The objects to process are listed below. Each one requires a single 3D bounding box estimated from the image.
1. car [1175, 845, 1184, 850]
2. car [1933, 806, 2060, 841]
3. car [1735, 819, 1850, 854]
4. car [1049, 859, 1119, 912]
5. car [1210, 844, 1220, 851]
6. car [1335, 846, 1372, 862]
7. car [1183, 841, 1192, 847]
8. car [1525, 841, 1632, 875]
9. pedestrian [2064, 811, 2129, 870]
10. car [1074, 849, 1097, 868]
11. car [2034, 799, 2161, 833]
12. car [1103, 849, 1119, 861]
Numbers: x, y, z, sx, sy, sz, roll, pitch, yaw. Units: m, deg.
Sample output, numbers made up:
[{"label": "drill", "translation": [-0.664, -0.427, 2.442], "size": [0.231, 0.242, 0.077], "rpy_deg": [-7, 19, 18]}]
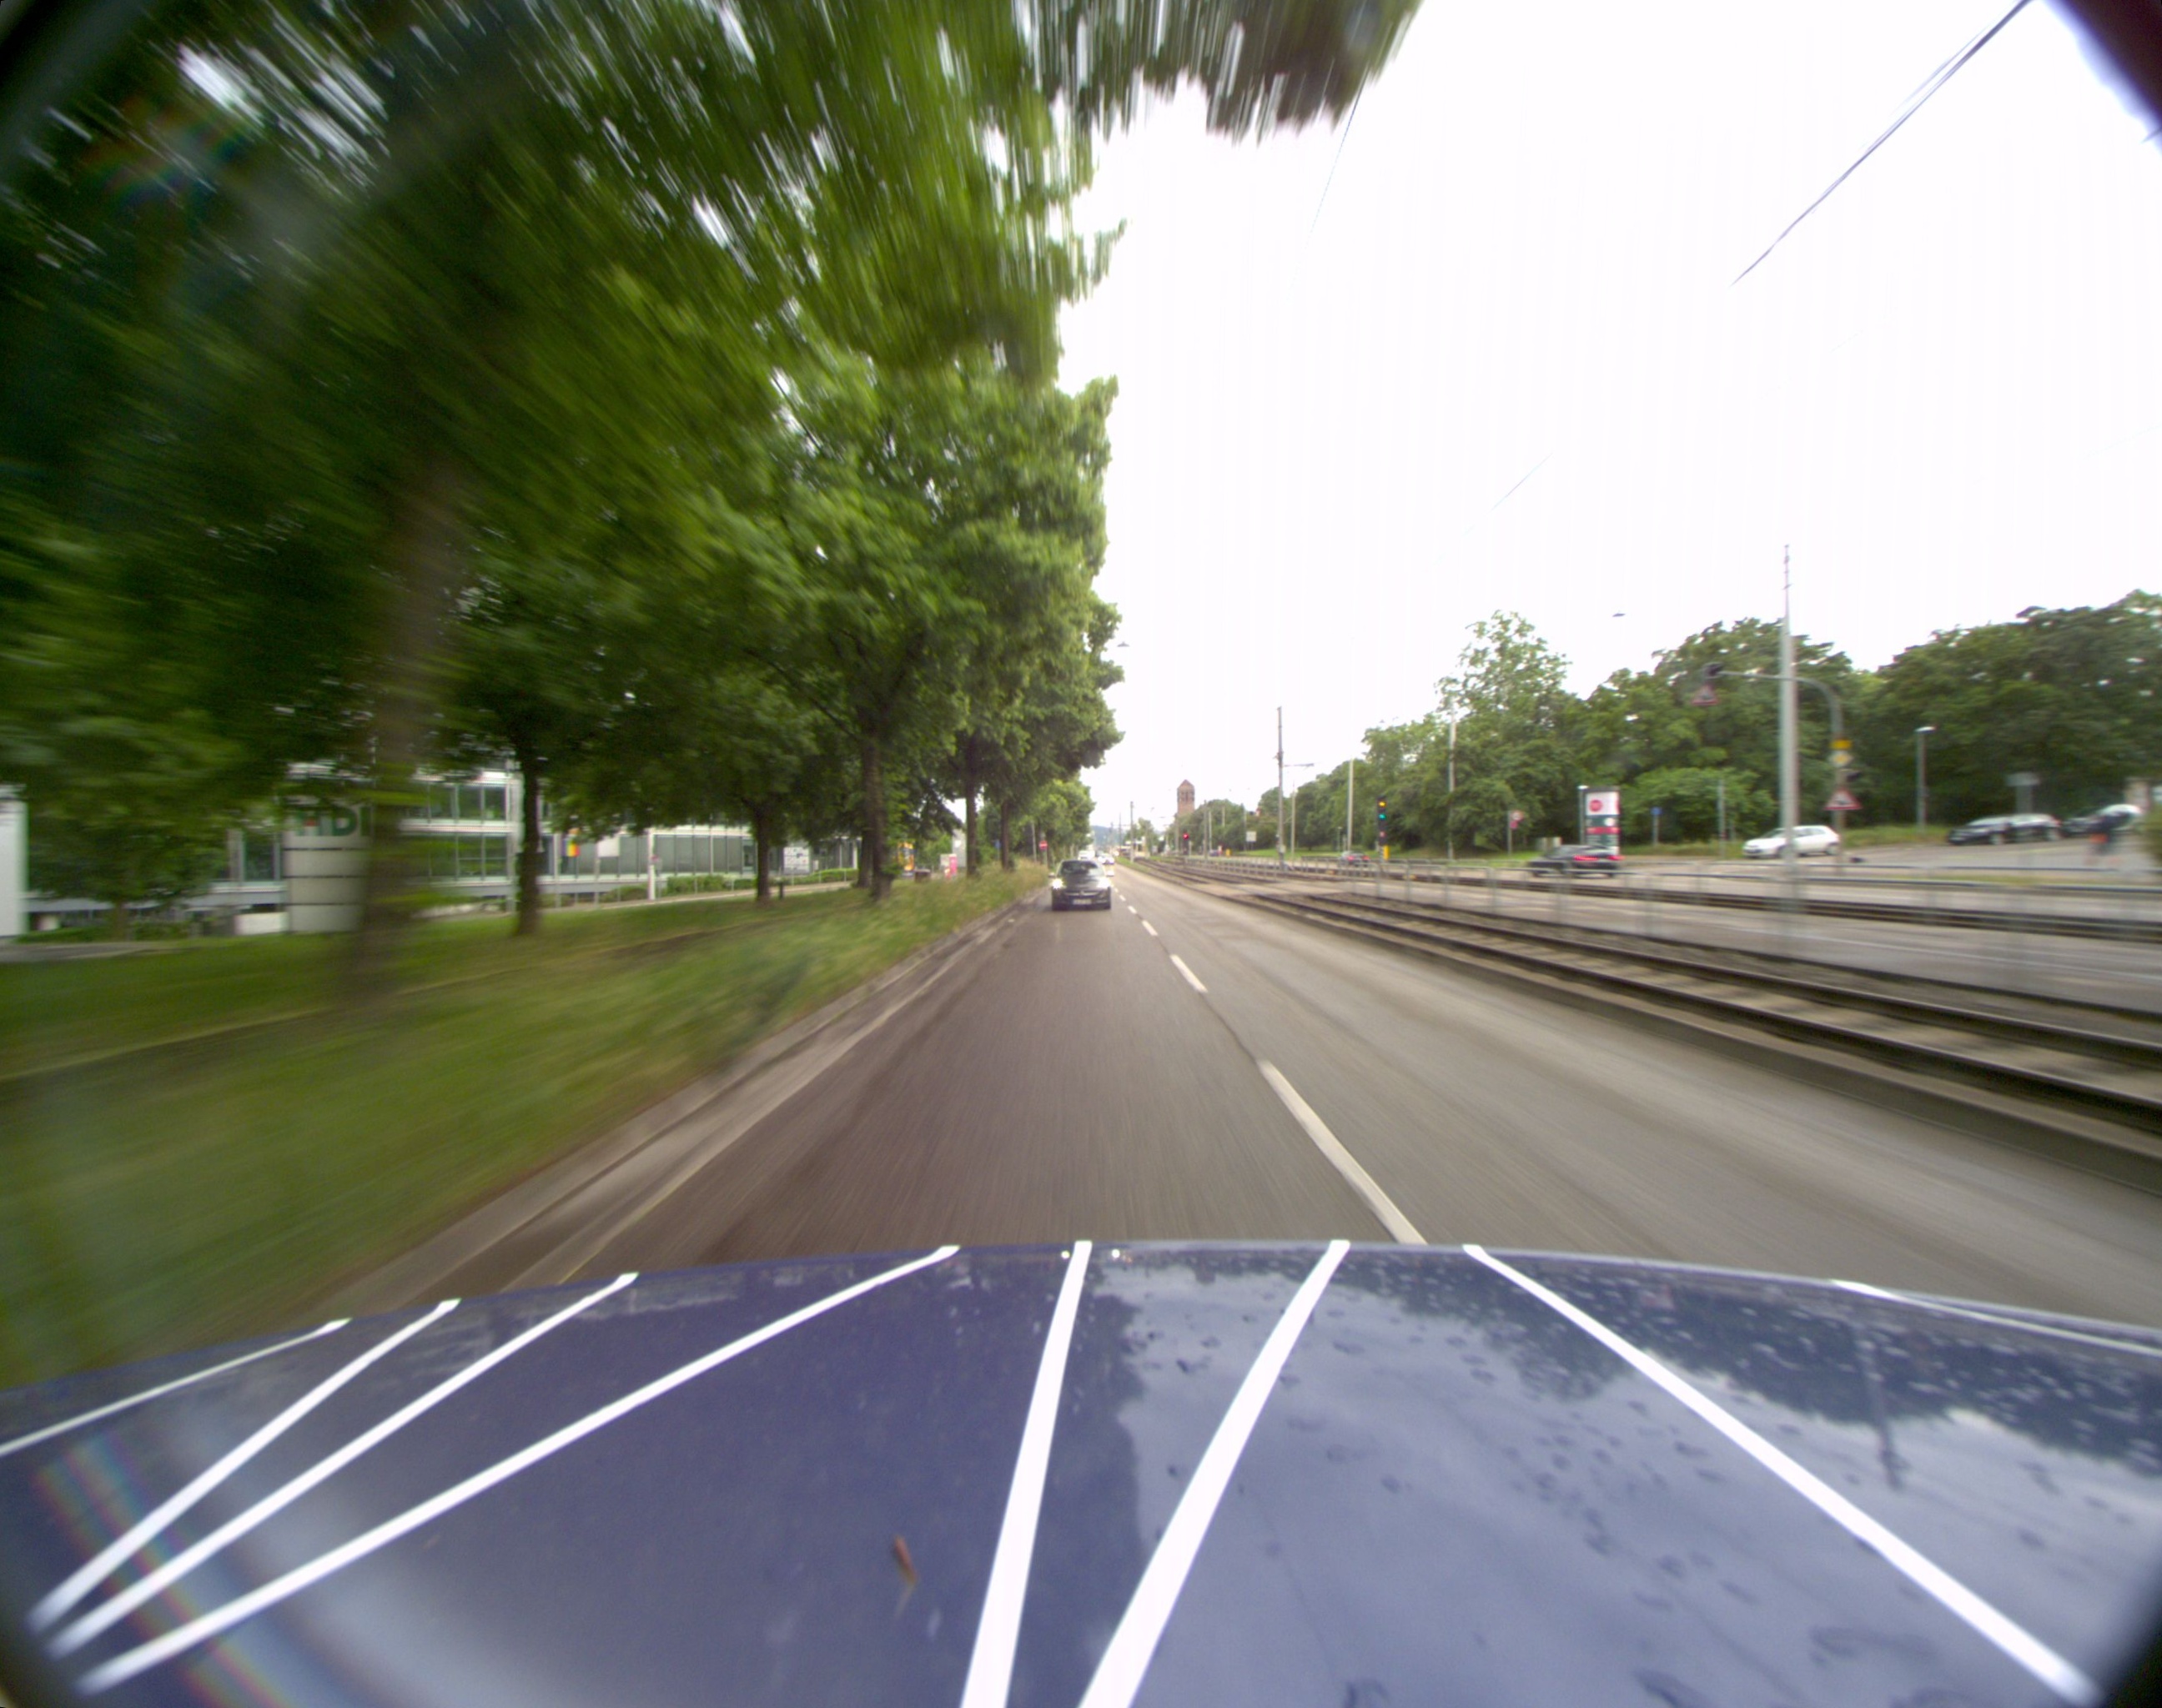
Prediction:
[{"label": "car", "translation": [25.313, -1.668, 195.814], "size": [1.895, 1.478, 4.309], "rpy_deg": [-1, 1, 3]}, {"label": "car", "translation": [45.563, -1.515, 37.874], "size": [4.085, 1.445, 1.872], "rpy_deg": [-4, 1, -1]}, {"label": "car", "translation": [35.630, -0.852, 38.117], "size": [3.929, 1.445, 1.925], "rpy_deg": [-4, 1, -1]}, {"label": "car", "translation": [0.117, 0.882, 23.185], "size": [1.899, 1.432, 4.473], "rpy_deg": [-2, 0, 1]}, {"label": "car", "translation": [27.813, -1.361, 157.765], "size": [1.765, 1.389, 3.901], "rpy_deg": [-1, 1, 3]}, {"label": "car", "translation": [22.656, -0.010, 63.298], "size": [1.760, 1.237, 3.987], "rpy_deg": [-1, 1, 1]}, {"label": "car", "translation": [28.520, -2.575, 203.196], "size": [1.952, 1.586, 4.848], "rpy_deg": [-1, 1, 3]}, {"label": "car", "translation": [21.065, 0.152, 32.393], "size": [1.802, 1.339, 4.259], "rpy_deg": [-1, 1, 1]}, {"label": "pedestrian", "translation": [28.849, -0.385, 21.599], "size": [0.725, 1.638, 0.845], "rpy_deg": [-2, 1, 1]}, {"label": "car", "translation": [0.457, 0.416, 69.750], "size": [1.998, 1.608, 4.000], "rpy_deg": [-1, 1, 1]}, {"label": "car", "translation": [51.144, -1.896, 38.210], "size": [4.085, 1.402, 1.872], "rpy_deg": [-4, 1, -1]}, {"label": "car", "translation": [3.908, 0.145, 99.365], "size": [1.899, 1.432, 4.246], "rpy_deg": [-2, 0, 1]}]
